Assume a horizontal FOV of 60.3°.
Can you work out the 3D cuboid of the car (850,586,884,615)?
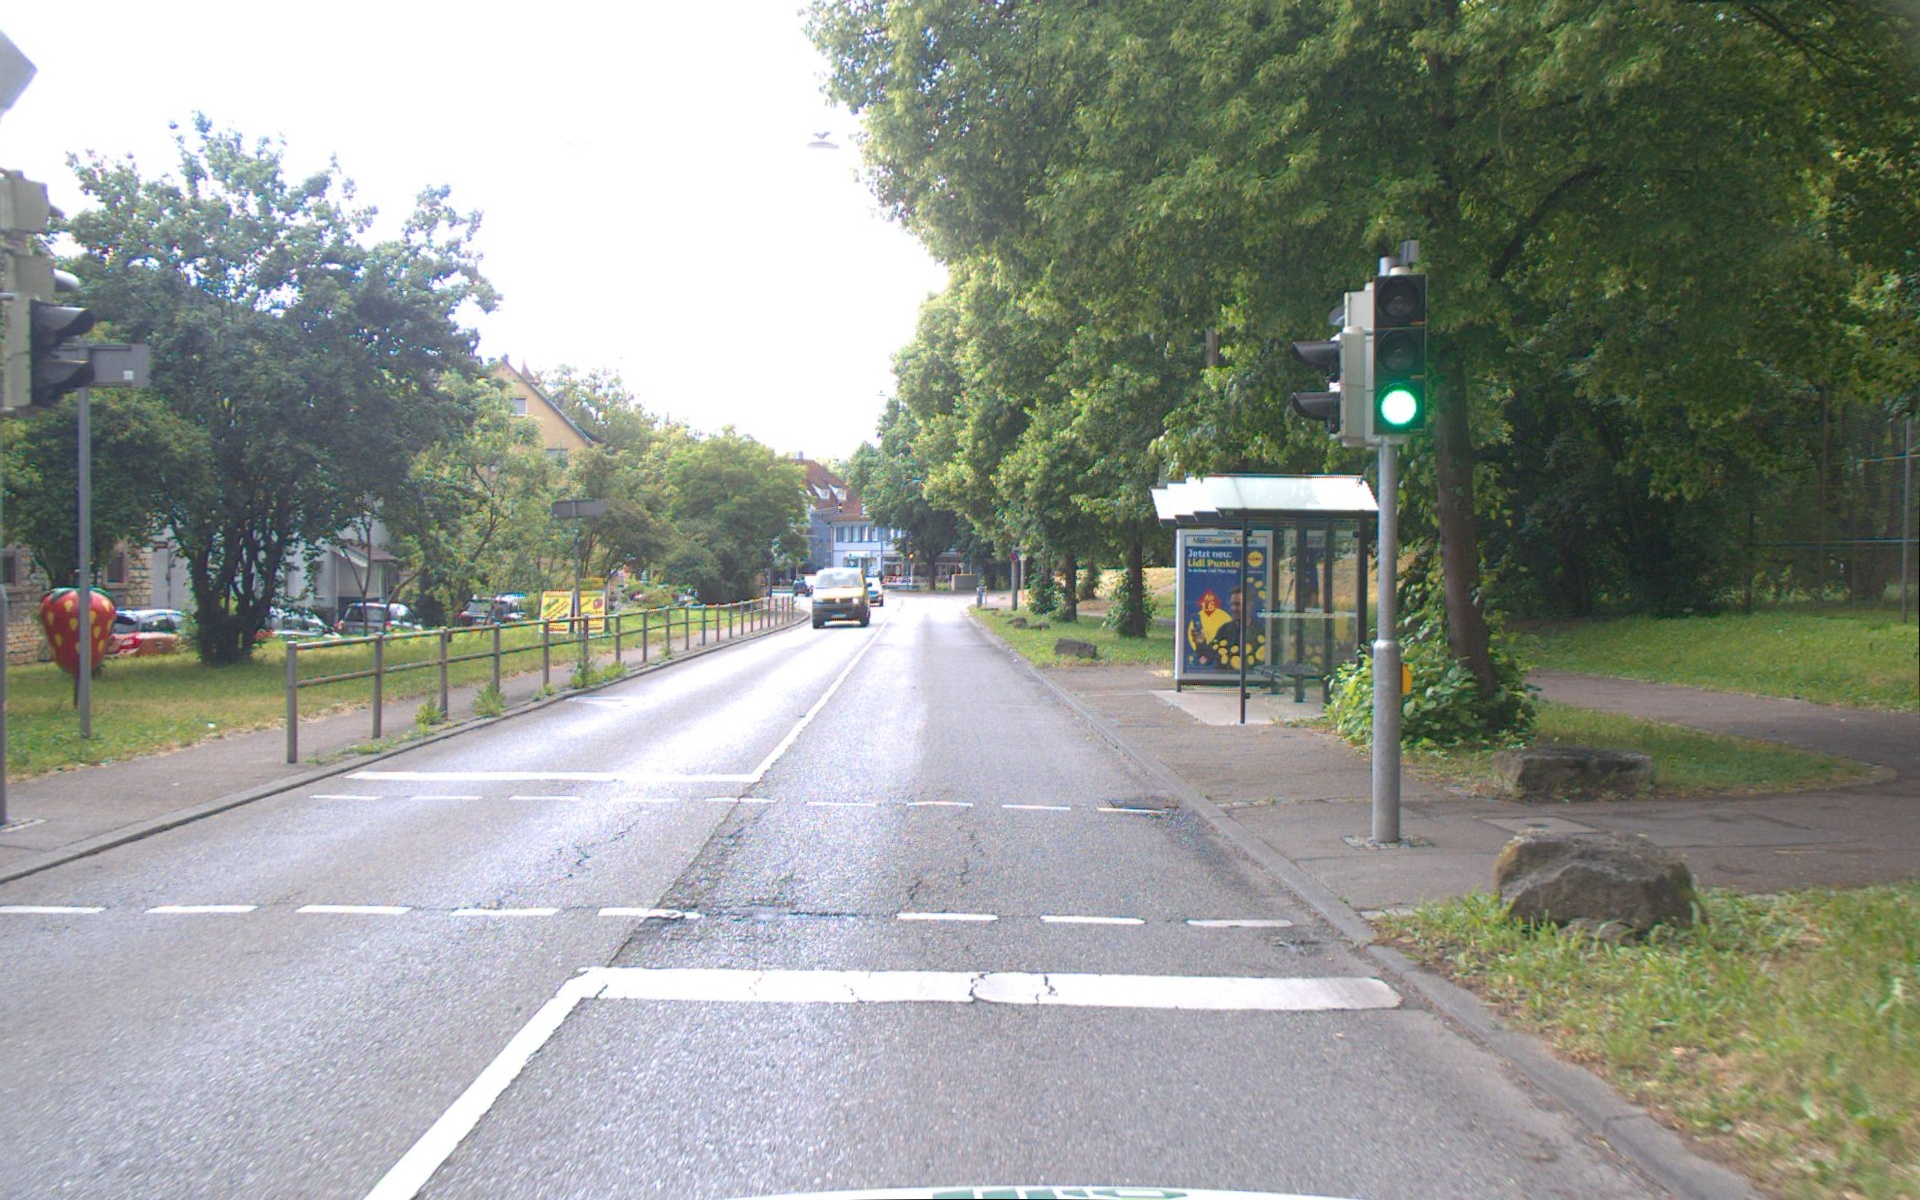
[{"bbox_3d":[-5.153,0.014,91.730,1.670,1.538,3.999,-1,1,-1],"label":"car"}]

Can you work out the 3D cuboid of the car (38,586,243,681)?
[{"bbox_3d":[-15.430,0.578,31.379,1.774,1.646,4.001,-1,0,2],"label":"car"}]

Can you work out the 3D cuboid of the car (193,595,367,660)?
[{"bbox_3d":[-15.025,0.582,36.780,1.951,1.299,4.002,-1,1,4],"label":"car"}]

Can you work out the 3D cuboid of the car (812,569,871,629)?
[{"bbox_3d":[-4.051,-0.053,57.178,1.808,1.964,4.768,1,0,-1],"label":"car"}]

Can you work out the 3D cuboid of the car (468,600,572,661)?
[{"bbox_3d":[-13.674,0.918,51.584,1.880,1.724,4.002,-1,1,4],"label":"car"}]

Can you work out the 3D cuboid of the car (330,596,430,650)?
[{"bbox_3d":[-14.984,0.568,42.849,1.520,1.300,2.555,-1,1,4],"label":"car"}]
